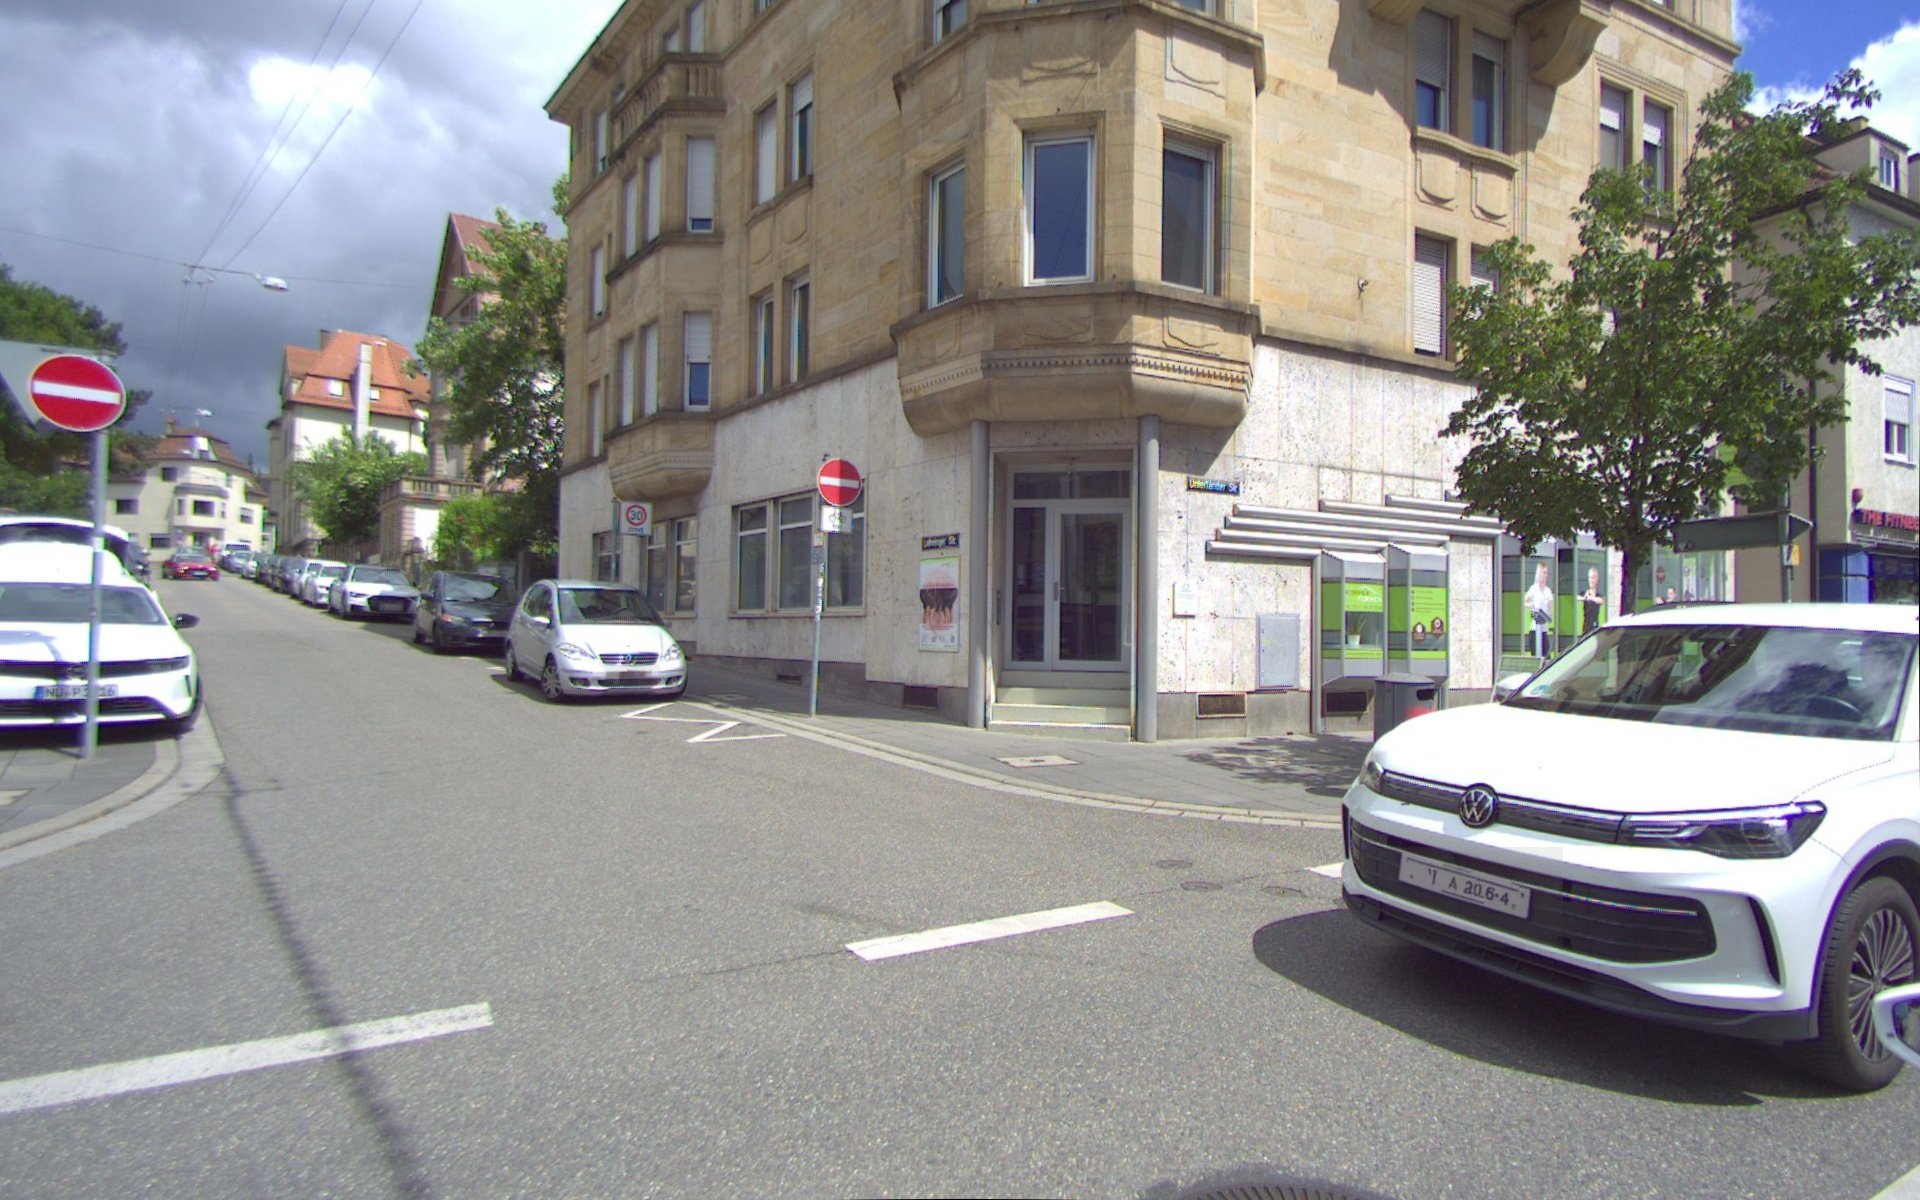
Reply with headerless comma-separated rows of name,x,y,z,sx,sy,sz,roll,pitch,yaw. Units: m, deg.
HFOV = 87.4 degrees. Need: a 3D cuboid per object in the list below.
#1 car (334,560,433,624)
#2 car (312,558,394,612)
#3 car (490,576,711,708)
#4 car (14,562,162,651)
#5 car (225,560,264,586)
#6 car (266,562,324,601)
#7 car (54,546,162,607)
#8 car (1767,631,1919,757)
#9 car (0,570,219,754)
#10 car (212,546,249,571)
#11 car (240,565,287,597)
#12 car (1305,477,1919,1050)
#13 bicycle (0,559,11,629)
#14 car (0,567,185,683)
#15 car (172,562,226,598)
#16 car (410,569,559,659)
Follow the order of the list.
car,-16.004,-0.242,27.790,1.980,1.582,4.176,2,0,-35
car,-19.632,-0.501,32.407,1.980,1.582,4.176,2,0,-35
car,-5.368,0.508,14.635,1.980,1.582,4.176,2,0,-35
car,-15.755,0.063,18.106,1.819,1.399,4.179,2,0,-43
car,-46.127,-1.742,64.835,1.980,1.582,4.176,2,0,-35
car,-28.999,-0.822,43.724,1.980,1.582,4.176,2,0,-35
car,-24.243,-0.673,28.733,1.812,1.573,4.194,2,0,-33
car,12.644,1.183,13.176,3.988,1.416,1.837,2,0,-29
car,-8.655,0.461,9.839,1.984,1.399,4.336,2,0,-40
car,-52.170,-2.943,71.907,1.980,1.582,4.176,2,0,-35
car,-37.635,-1.046,54.279,1.980,1.582,4.176,2,0,-35
car,3.773,0.536,4.637,4.063,1.662,1.781,2,0,-27
bicycle,-20.637,-0.143,20.996,0.796,1.469,1.013,2,0,-21
car,-12.590,0.278,14.502,1.819,1.399,4.179,2,0,-43
car,-36.926,-0.983,48.768,1.982,1.582,4.173,2,0,-37
car,-9.558,0.228,20.010,1.980,1.582,4.176,2,0,-35
